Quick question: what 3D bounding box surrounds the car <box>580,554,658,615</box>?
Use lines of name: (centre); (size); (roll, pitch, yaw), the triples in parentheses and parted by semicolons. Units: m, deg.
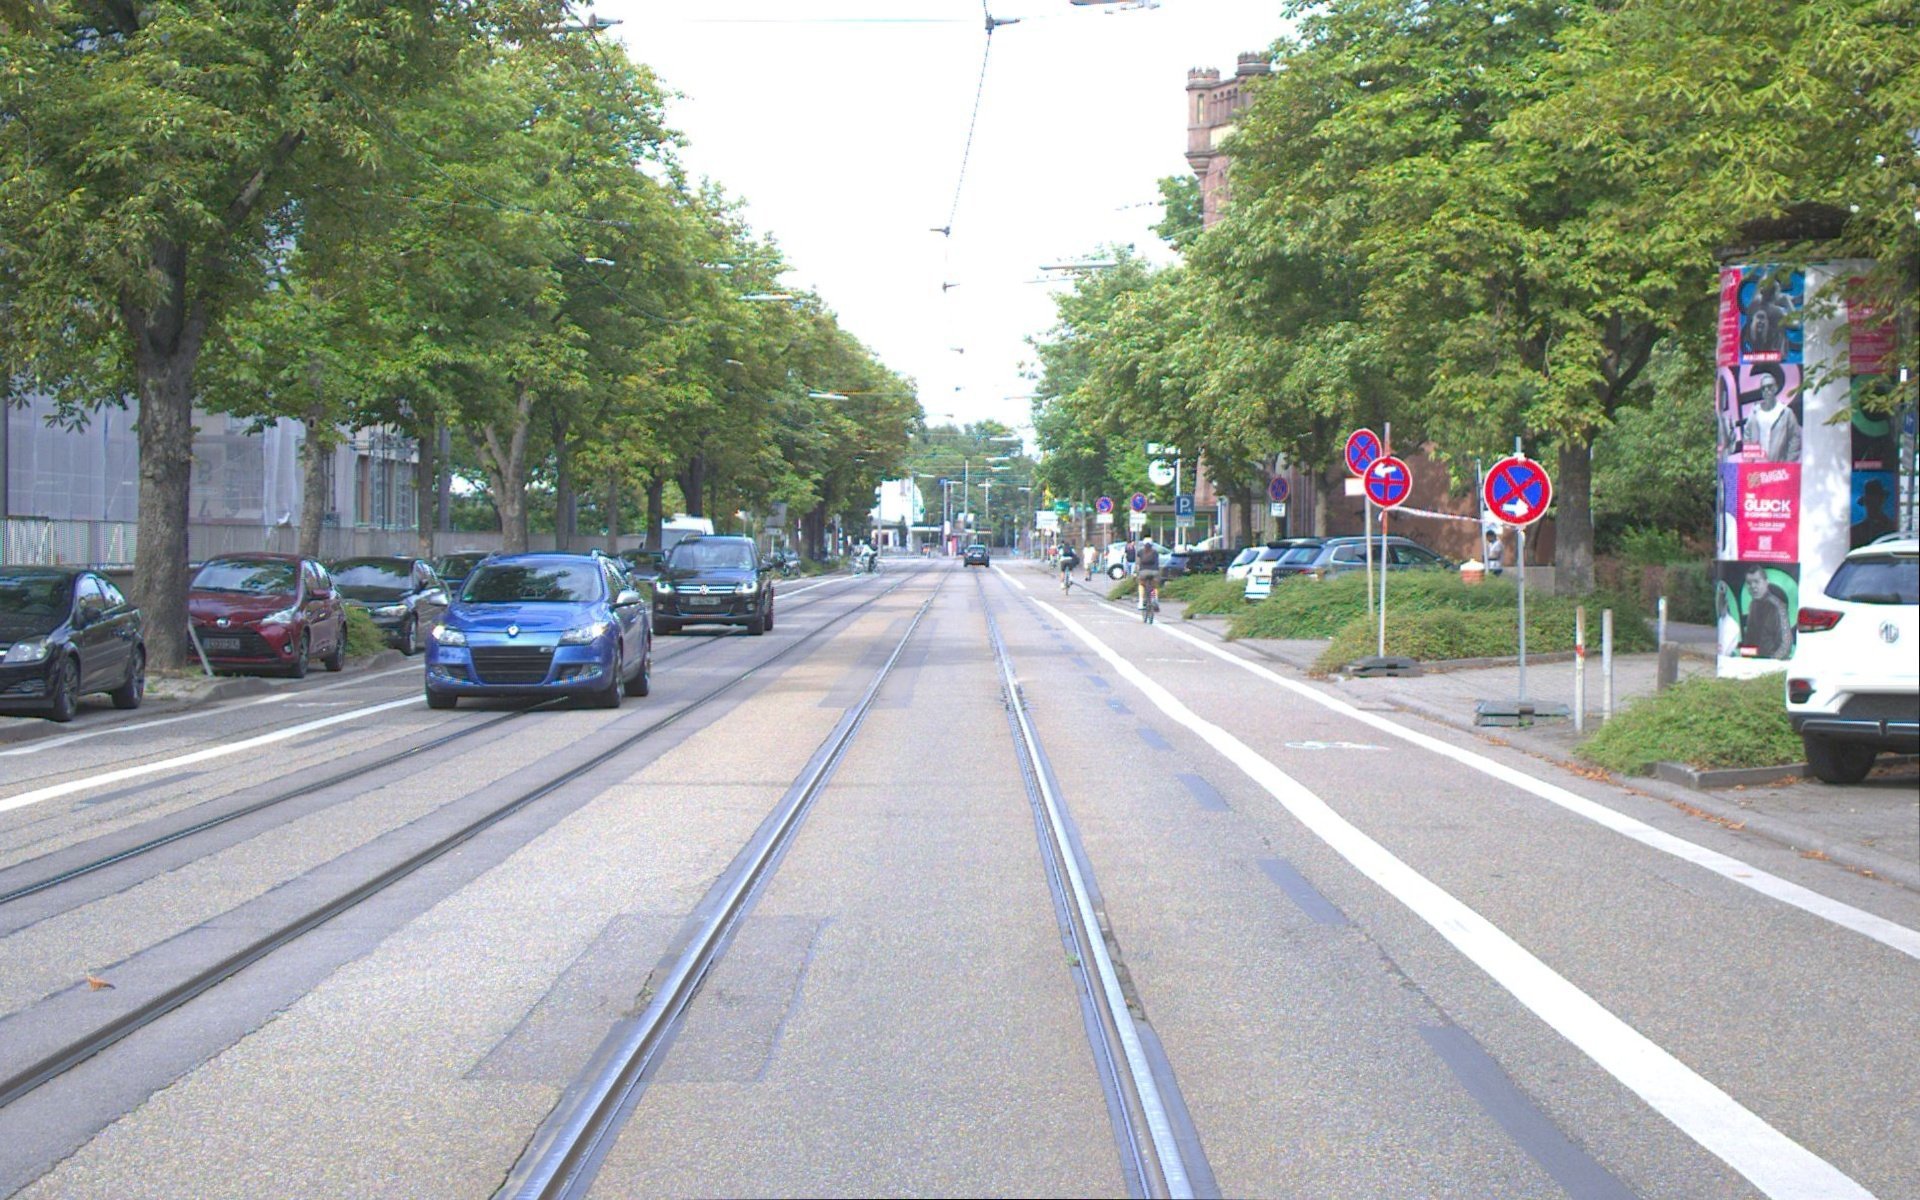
car: (-8.189, -0.382, 82.860); (1.590, 1.398, 3.963); (1, 1, -2)

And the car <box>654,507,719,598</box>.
car: (-8.448, -1.479, 106.398); (1.720, 2.695, 5.471); (1, 1, -2)

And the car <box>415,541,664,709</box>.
car: (-3.984, 0.188, 33.227); (1.732, 1.491, 4.378); (0, 1, 2)

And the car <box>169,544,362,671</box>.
car: (-8.596, 0.058, 42.828); (1.635, 1.491, 3.963); (1, 1, -1)

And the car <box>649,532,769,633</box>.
car: (-4.192, -0.332, 58.019); (1.732, 1.623, 4.378); (-1, 1, -1)

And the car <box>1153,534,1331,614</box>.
car: (5.798, -0.529, 70.443); (1.681, 1.597, 3.637); (1, 1, 45)

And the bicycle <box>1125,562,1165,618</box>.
bicycle: (3.600, -0.206, 67.054); (0.592, 1.040, 1.978); (1, 1, -2)

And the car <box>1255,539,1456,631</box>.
car: (7.084, -0.277, 61.401); (1.681, 1.597, 3.637); (1, 1, 45)

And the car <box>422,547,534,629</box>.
car: (-8.702, -0.238, 62.341); (1.590, 1.398, 3.963); (1, 1, -2)

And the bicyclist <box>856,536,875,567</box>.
bicyclist: (-4.667, -2.384, 169.766); (0.847, 1.499, 0.768); (1, 1, 8)

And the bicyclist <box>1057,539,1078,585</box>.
bicyclist: (3.518, -1.252, 112.216); (0.659, 1.491, 0.929); (1, 1, 1)

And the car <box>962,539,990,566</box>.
car: (1.104, -3.273, 234.988); (1.795, 1.817, 4.679); (1, 1, -1)

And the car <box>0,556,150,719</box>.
car: (-8.788, 0.306, 32.171); (1.590, 1.398, 3.963); (1, 1, -2)

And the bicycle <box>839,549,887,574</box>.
bicycle: (-4.775, -1.914, 169.783); (2.275, 1.185, 0.768); (1, 1, 8)

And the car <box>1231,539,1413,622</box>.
car: (7.206, -0.393, 68.296); (1.681, 1.597, 3.637); (1, 1, 45)

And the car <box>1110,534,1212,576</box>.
car: (8.448, -1.889, 144.655); (3.986, 1.687, 2.000); (1, 1, -5)

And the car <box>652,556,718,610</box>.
car: (-7.429, -0.467, 93.053); (1.590, 1.398, 3.963); (1, 1, -2)

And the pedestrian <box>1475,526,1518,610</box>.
pedestrian: (11.716, -0.700, 75.098); (0.786, 1.820, 0.661); (1, 1, 20)

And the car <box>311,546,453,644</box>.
car: (-8.711, -0.101, 52.029); (1.590, 1.398, 3.963); (1, 1, -2)

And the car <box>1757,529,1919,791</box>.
car: (6.925, 0.360, 22.457); (1.681, 1.597, 3.637); (1, 1, 45)

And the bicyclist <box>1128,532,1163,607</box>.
bicyclist: (3.609, -0.597, 67.048); (0.592, 1.454, 0.875); (1, 1, -2)

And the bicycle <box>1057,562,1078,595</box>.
bicycle: (3.507, -0.693, 112.221); (0.663, 1.040, 1.841); (1, 1, 1)

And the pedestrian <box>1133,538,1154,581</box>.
pedestrian: (7.699, -1.687, 144.327); (0.748, 1.783, 0.730); (1, 0, 15)
